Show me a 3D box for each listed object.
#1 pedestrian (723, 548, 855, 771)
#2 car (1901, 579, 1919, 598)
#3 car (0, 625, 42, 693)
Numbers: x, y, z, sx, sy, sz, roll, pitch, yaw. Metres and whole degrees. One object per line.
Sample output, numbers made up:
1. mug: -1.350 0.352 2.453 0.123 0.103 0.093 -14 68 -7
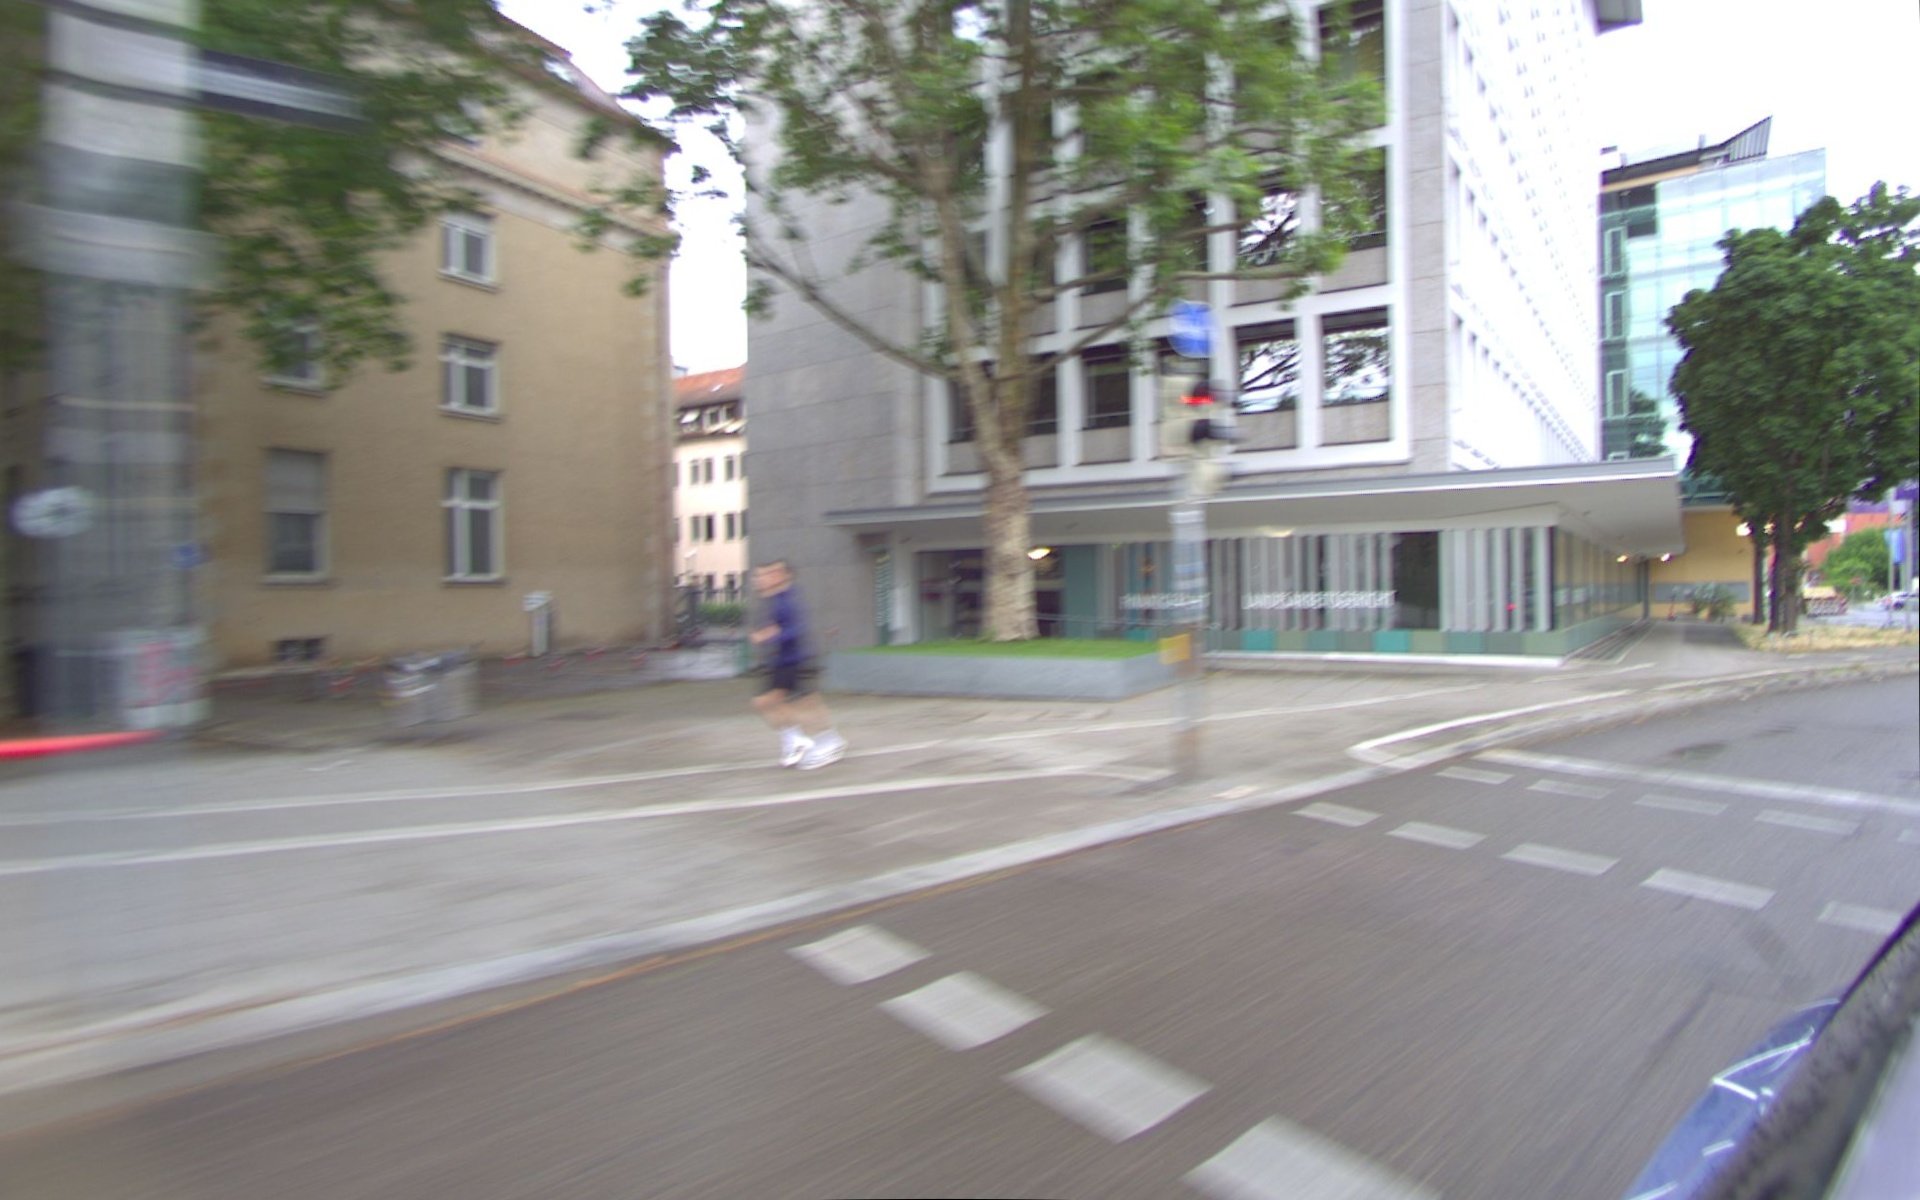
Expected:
1. pedestrian: -1.473 0.478 8.710 0.847 1.794 0.781 0 -1 -40
2. car: 85.210 -0.954 88.565 3.729 1.671 1.785 2 1 24
3. car: -23.744 1.362 22.581 1.874 1.481 4.492 2 1 31
